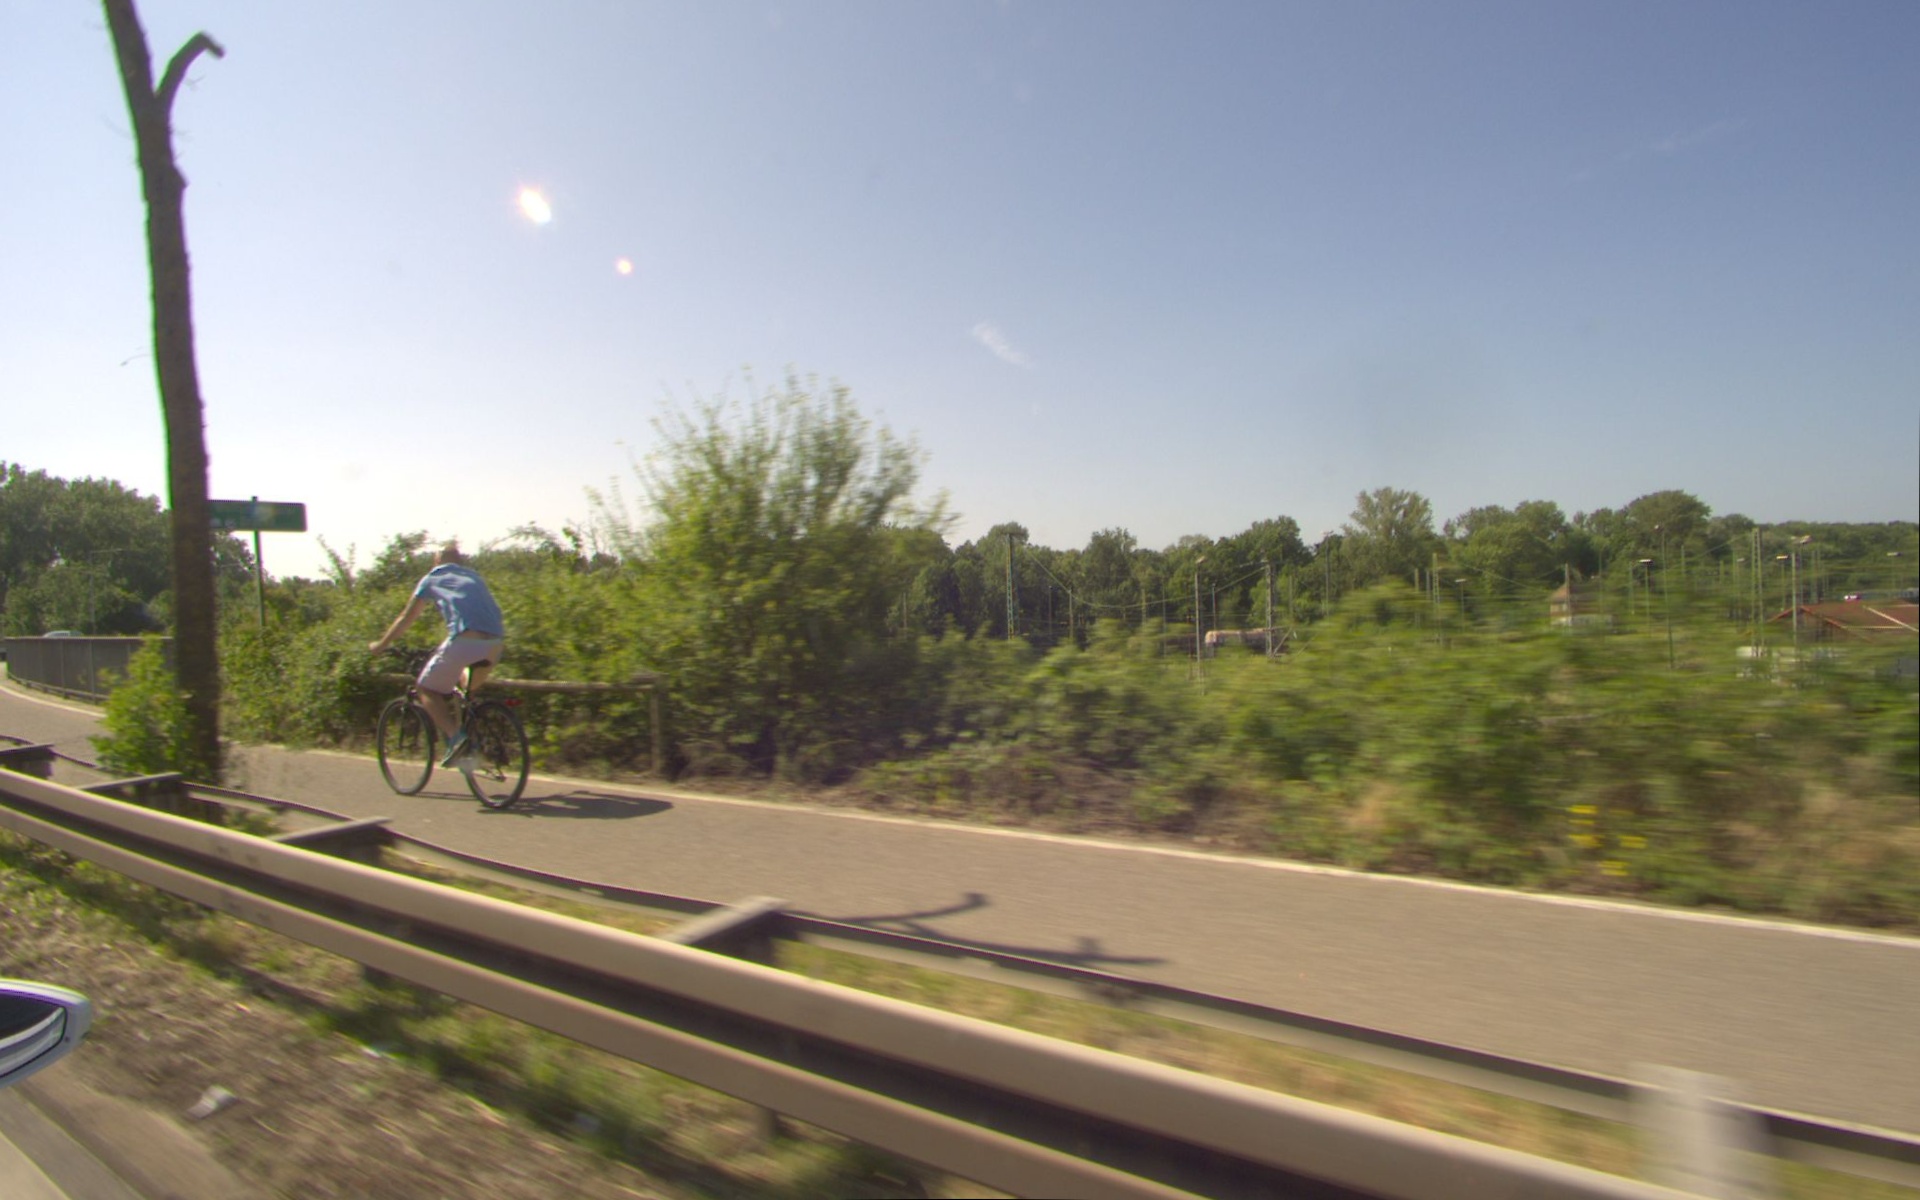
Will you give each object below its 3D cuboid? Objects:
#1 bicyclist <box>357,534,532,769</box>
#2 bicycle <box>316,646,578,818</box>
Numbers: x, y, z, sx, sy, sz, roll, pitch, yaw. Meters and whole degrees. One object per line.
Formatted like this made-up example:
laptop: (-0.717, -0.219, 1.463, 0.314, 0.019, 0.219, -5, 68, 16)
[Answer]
bicyclist: (-3.587, 0.339, 6.993, 0.790, 1.540, 0.657, -2, 2, 27)
bicycle: (-3.643, 0.881, 7.082, 1.818, 1.034, 0.701, -2, 2, 29)
